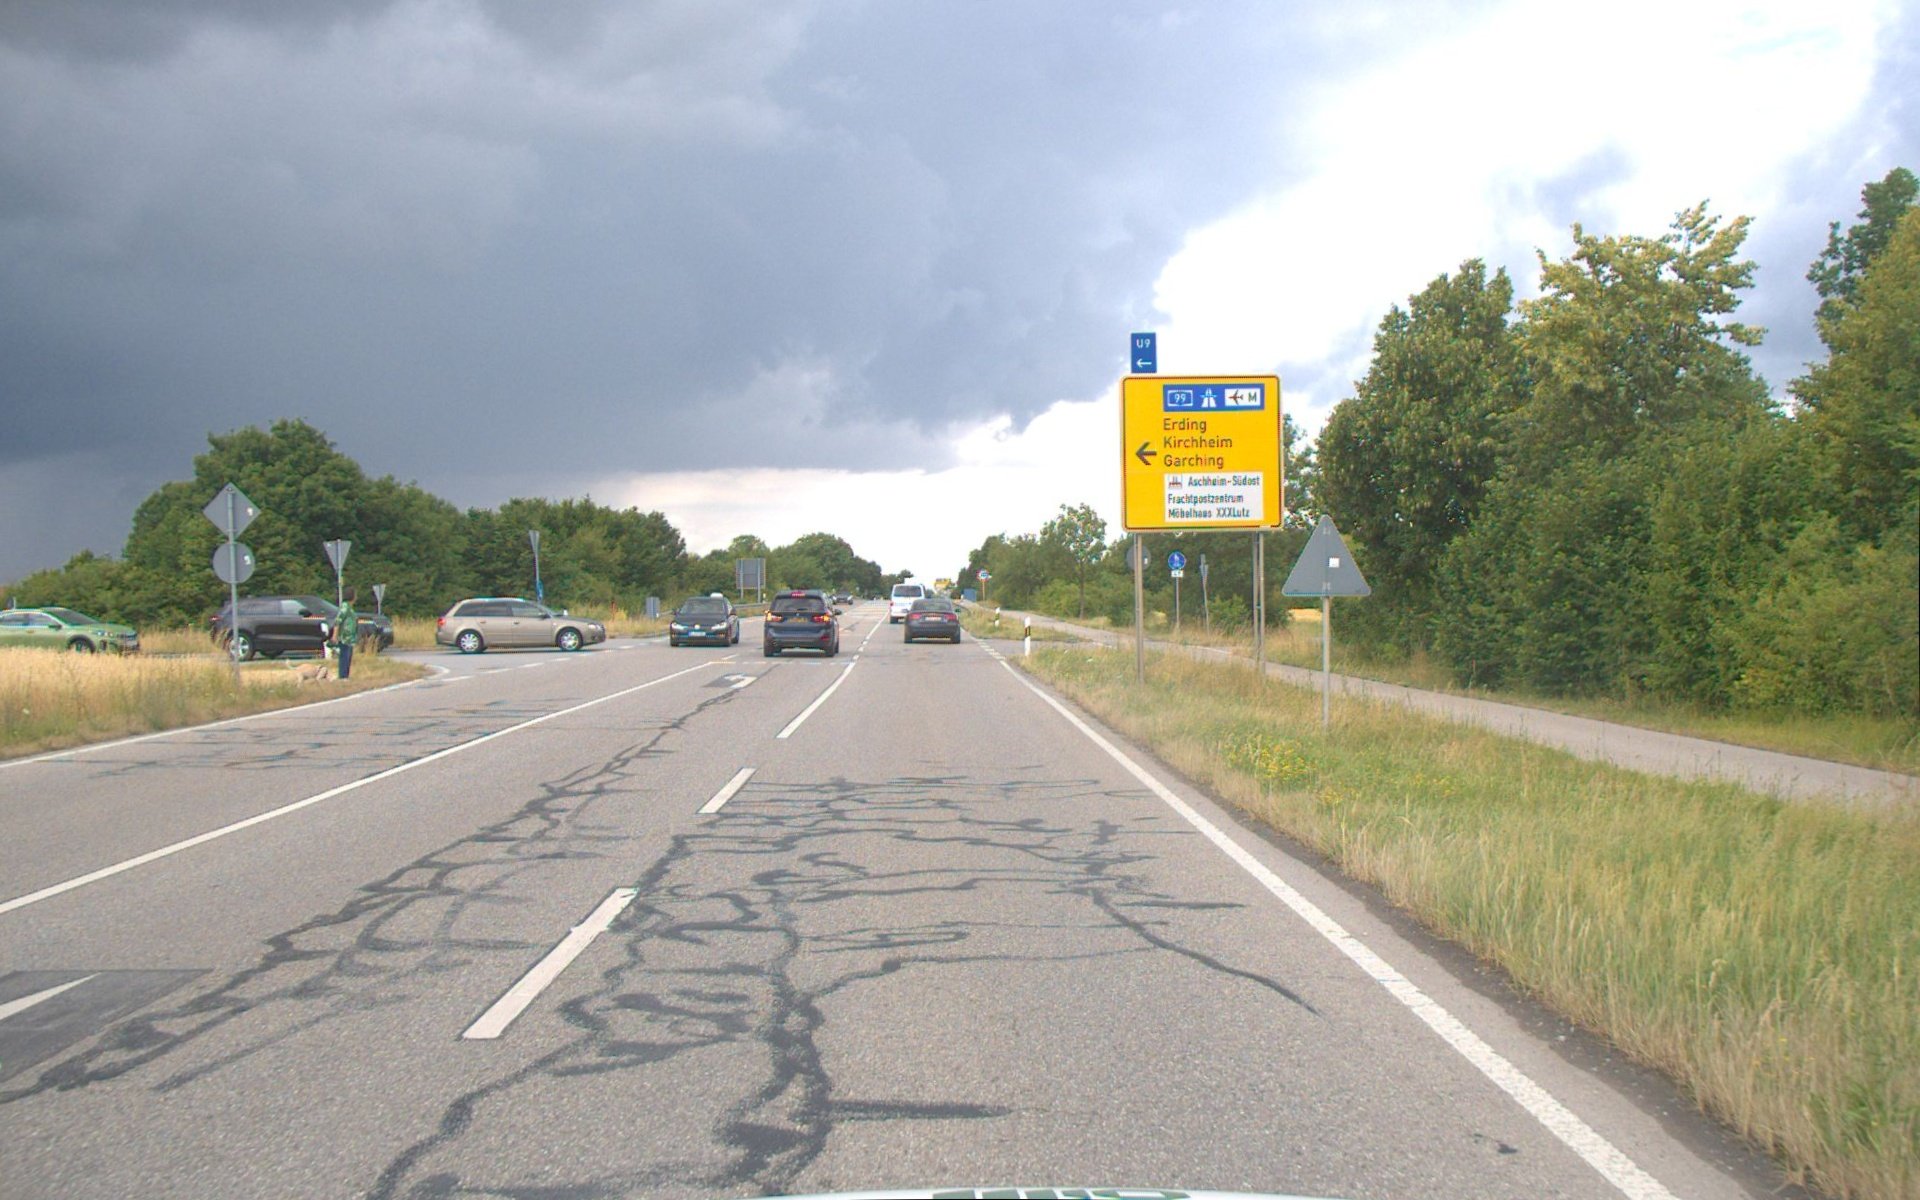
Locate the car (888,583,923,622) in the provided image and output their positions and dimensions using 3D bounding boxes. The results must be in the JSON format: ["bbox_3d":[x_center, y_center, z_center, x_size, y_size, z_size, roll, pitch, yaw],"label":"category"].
[{"bbox_3d":[-2.763,0.143,84.221,1.750,1.923,3.998,1,0,-2],"label":"car"}]

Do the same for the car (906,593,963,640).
[{"bbox_3d":[-0.849,0.531,53.519,1.750,1.448,3.998,1,0,-2],"label":"car"}]

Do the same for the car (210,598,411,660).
[{"bbox_3d":[-17.432,0.762,44.504,4.639,1.558,1.912,-1,0,4],"label":"car"}]

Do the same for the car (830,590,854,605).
[{"bbox_3d":[-11.286,-0.259,157.823,2.121,1.307,4.235,2,0,-3],"label":"car"}]

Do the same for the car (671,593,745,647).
[{"bbox_3d":[-7.564,0.569,49.943,1.645,1.548,4.394,1,0,-1],"label":"car"}]

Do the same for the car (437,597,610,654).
[{"bbox_3d":[-11.867,0.678,45.208,4.369,1.449,1.907,-1,0,-10],"label":"car"}]

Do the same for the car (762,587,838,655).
[{"bbox_3d":[-4.074,0.520,42.626,1.668,1.639,4.480,-1,0,-2],"label":"car"}]

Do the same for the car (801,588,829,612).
[{"bbox_3d":[-10.166,-0.024,116.166,1.707,1.557,4.197,1,1,-2],"label":"car"}]

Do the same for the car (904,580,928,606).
[{"bbox_3d":[-4.514,-0.719,169.766,2.398,2.548,5.040,1,1,-1],"label":"car"}]

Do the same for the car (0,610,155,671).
[{"bbox_3d":[-24.791,1.100,44.692,5.173,1.547,1.912,-1,0,4],"label":"car"}]

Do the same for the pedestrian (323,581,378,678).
[{"bbox_3d":[-10.643,0.505,28.895,0.581,1.633,0.865,-3,0,-4],"label":"pedestrian"}]
